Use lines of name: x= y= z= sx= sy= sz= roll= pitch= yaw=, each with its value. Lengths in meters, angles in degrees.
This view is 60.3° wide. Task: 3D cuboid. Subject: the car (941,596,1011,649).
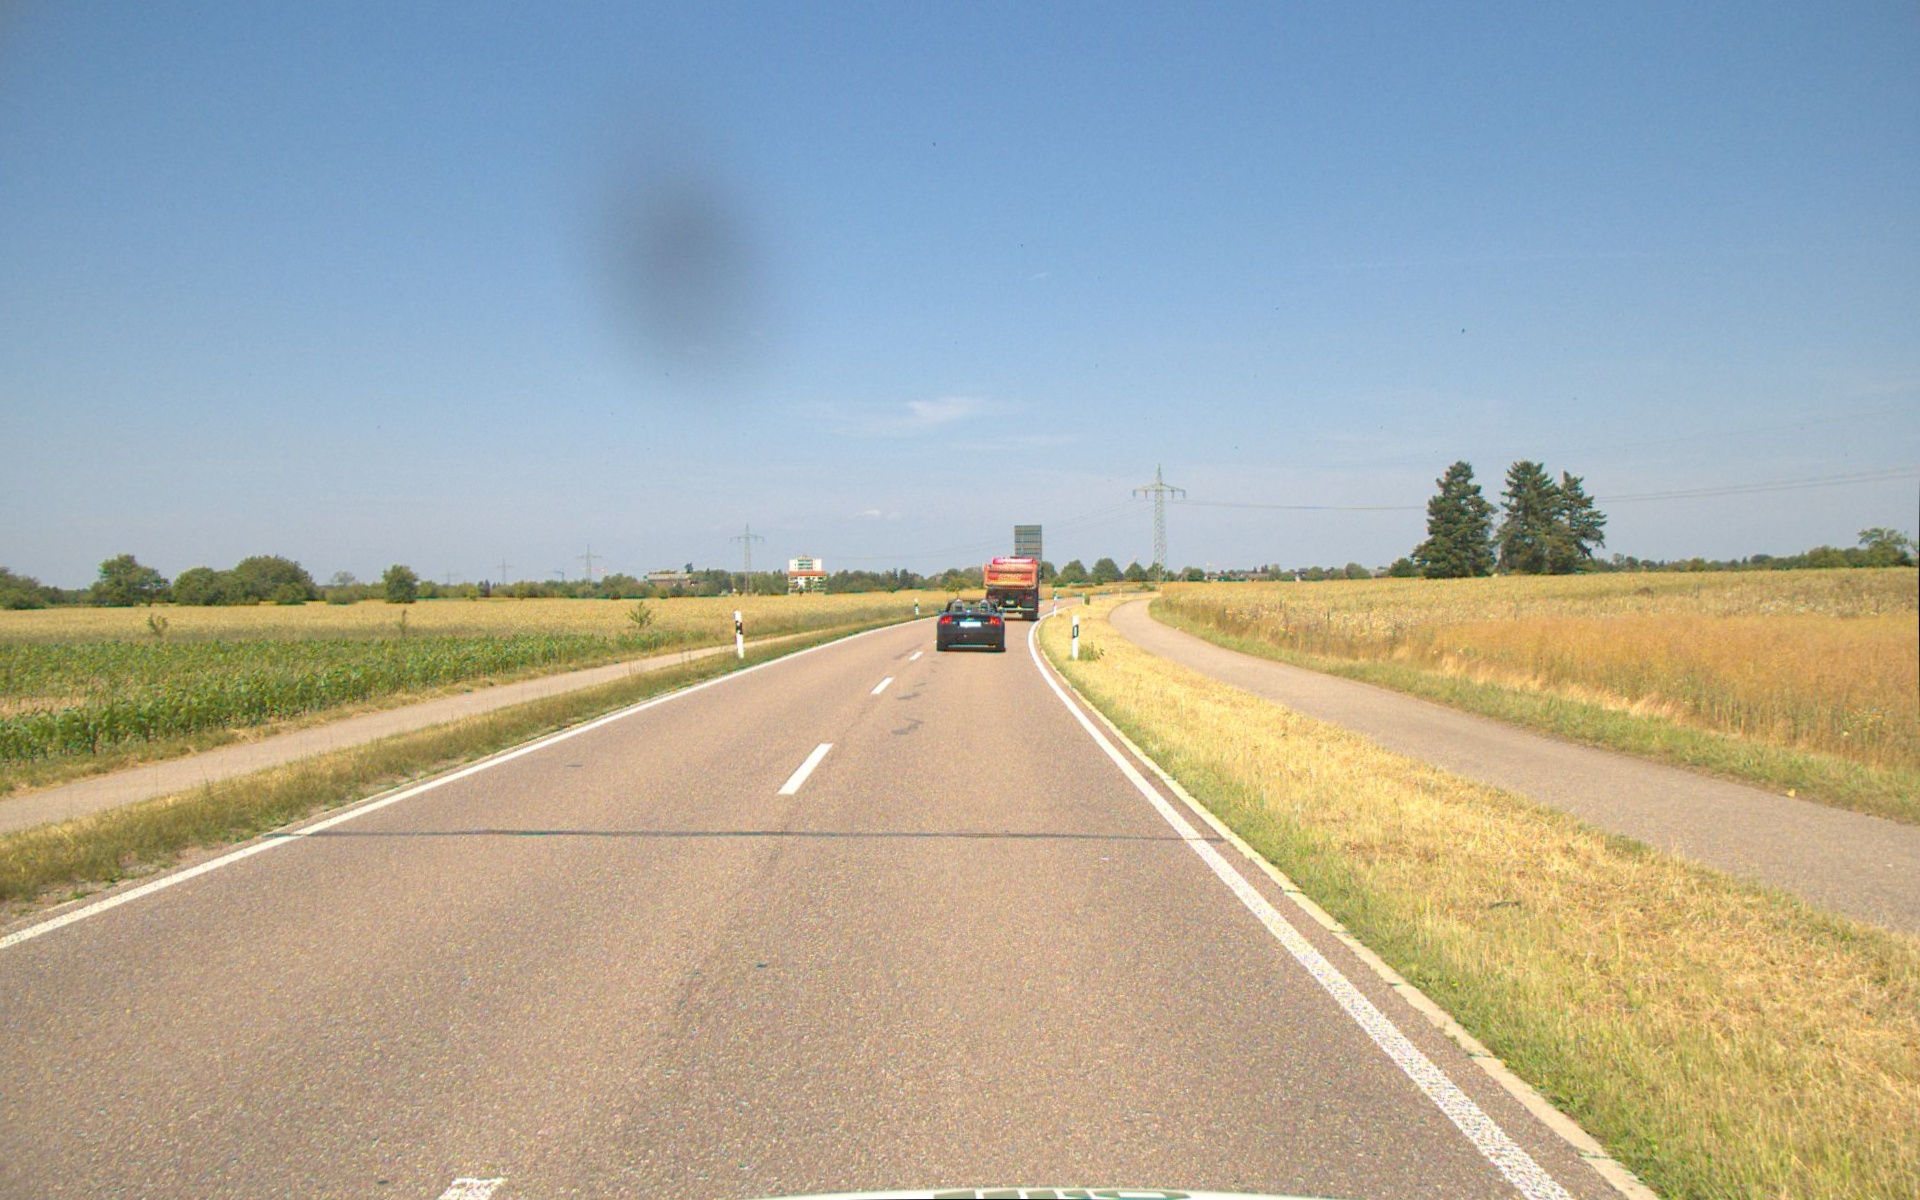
car: x=0.441 y=0.559 z=42.594 sx=1.708 sy=1.302 sz=4.001 roll=0 pitch=0 yaw=1

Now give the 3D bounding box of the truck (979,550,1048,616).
truck: x=2.741 y=-0.769 z=82.267 sx=2.875 sy=3.143 sz=7.201 roll=0 pitch=0 yaw=6
